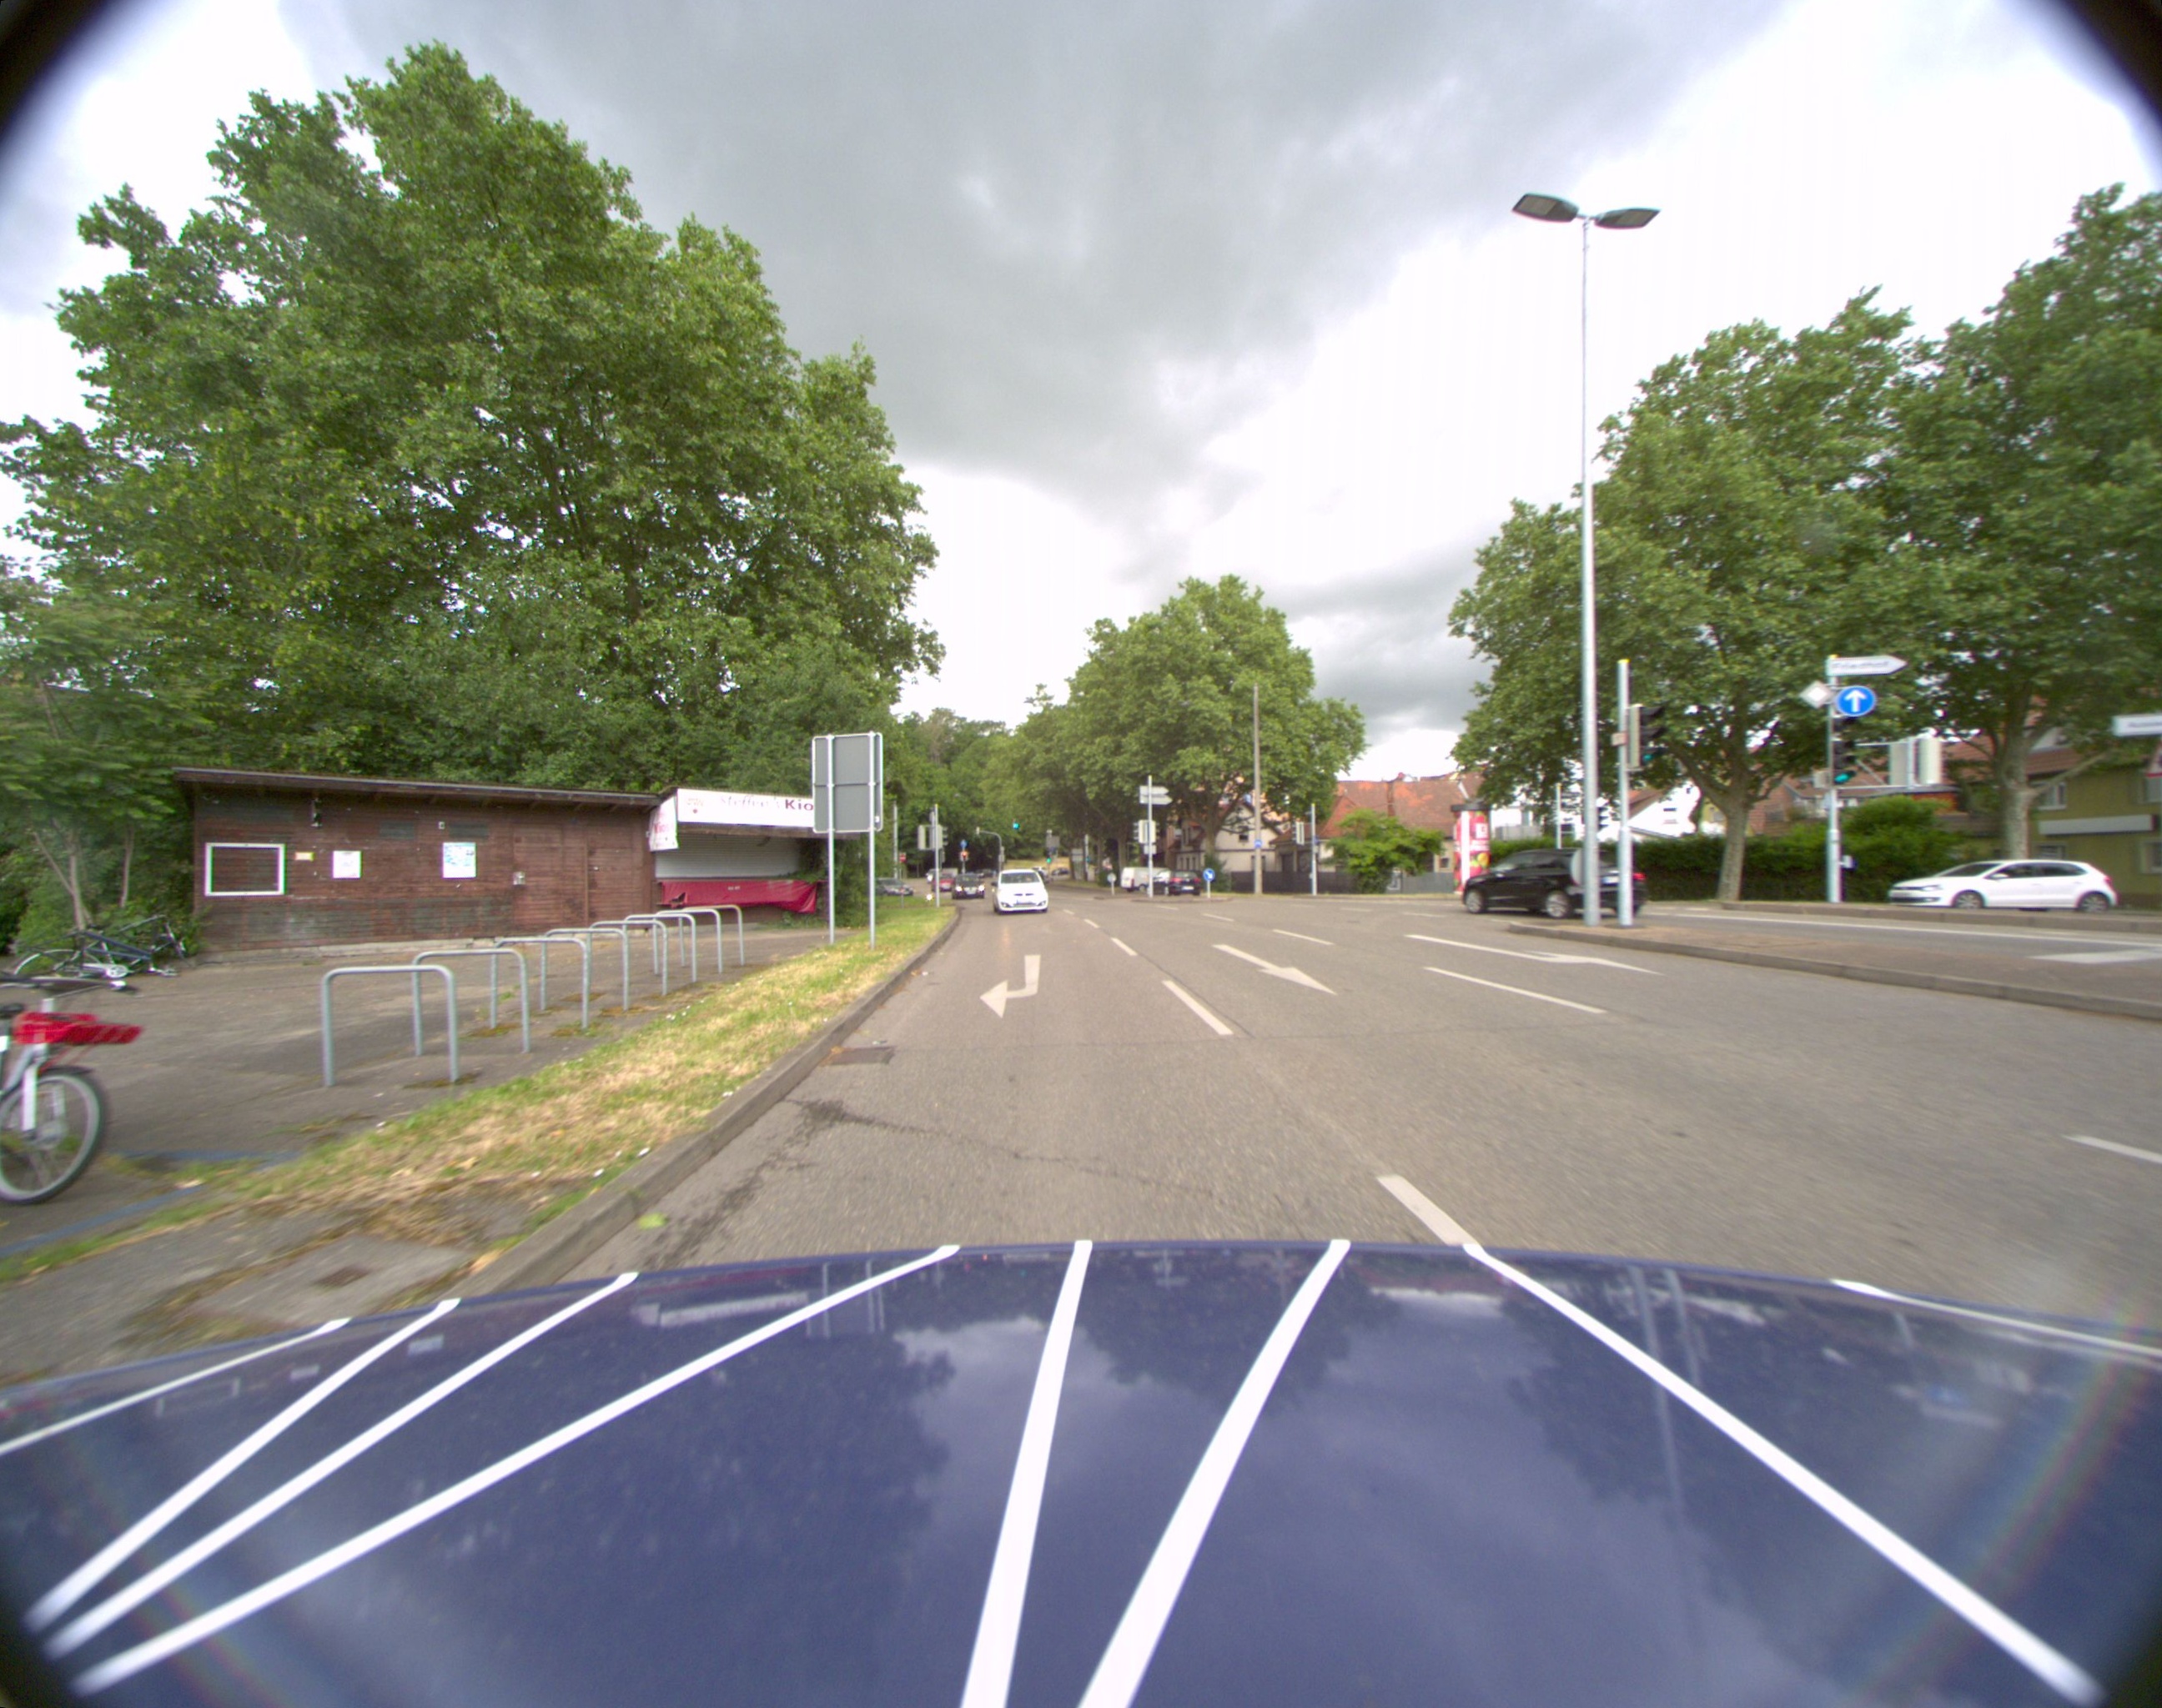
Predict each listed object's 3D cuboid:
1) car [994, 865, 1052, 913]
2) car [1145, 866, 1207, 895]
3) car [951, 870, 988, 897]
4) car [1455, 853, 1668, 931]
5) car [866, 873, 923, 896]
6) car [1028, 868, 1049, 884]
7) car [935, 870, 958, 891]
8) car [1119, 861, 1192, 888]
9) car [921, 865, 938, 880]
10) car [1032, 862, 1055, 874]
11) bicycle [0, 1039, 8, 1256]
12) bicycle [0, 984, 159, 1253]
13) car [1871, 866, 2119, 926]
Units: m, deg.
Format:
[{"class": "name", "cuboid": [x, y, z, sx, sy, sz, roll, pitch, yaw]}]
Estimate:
[{"class": "car", "cuboid": [-2.077, 1.175, 26.107, 1.629, 1.499, 3.998, -1, -2, -9]}, {"class": "car", "cuboid": [4.802, 1.313, 39.194, 1.683, 1.358, 4.306, -1, -1, -14]}, {"class": "car", "cuboid": [-7.010, 1.808, 47.468, 1.733, 1.512, 3.994, 0, 0, -16]}, {"class": "car", "cuboid": [9.869, 0.732, 16.002, 1.621, 1.407, 3.892, -1, -1, -8]}, {"class": "car", "cuboid": [-12.191, 1.987, 49.514, 1.737, 1.420, 4.102, 0, -2, -43]}, {"class": "car", "cuboid": [-4.170, 2.169, 74.706, 1.574, 1.517, 3.186, 0, -2, -12]}, {"class": "car", "cuboid": [-11.364, 2.186, 63.925, 1.677, 1.632, 4.095, 0, 0, -14]}, {"class": "car", "cuboid": [5.722, 1.607, 58.360, 5.252, 1.919, 2.080, 2, -1, -27]}, {"class": "car", "cuboid": [-17.028, 2.070, 85.364, 1.785, 1.559, 3.996, 0, 0, -10]}, {"class": "car", "cuboid": [-5.675, 2.089, 115.009, 1.913, 1.752, 4.760, -1, -1, 18]}, {"class": "bicycle", "cuboid": [-5.827, 1.294, 3.303, 1.782, 1.104, 0.455, -1, 1, 4]}, {"class": "bicycle", "cuboid": [-5.668, 1.293, 3.967, 1.780, 1.104, 0.426, 0, 1, 17]}, {"class": "car", "cuboid": [23.905, 1.058, 20.053, 3.847, 1.471, 1.828, -1, 0, 14]}]
